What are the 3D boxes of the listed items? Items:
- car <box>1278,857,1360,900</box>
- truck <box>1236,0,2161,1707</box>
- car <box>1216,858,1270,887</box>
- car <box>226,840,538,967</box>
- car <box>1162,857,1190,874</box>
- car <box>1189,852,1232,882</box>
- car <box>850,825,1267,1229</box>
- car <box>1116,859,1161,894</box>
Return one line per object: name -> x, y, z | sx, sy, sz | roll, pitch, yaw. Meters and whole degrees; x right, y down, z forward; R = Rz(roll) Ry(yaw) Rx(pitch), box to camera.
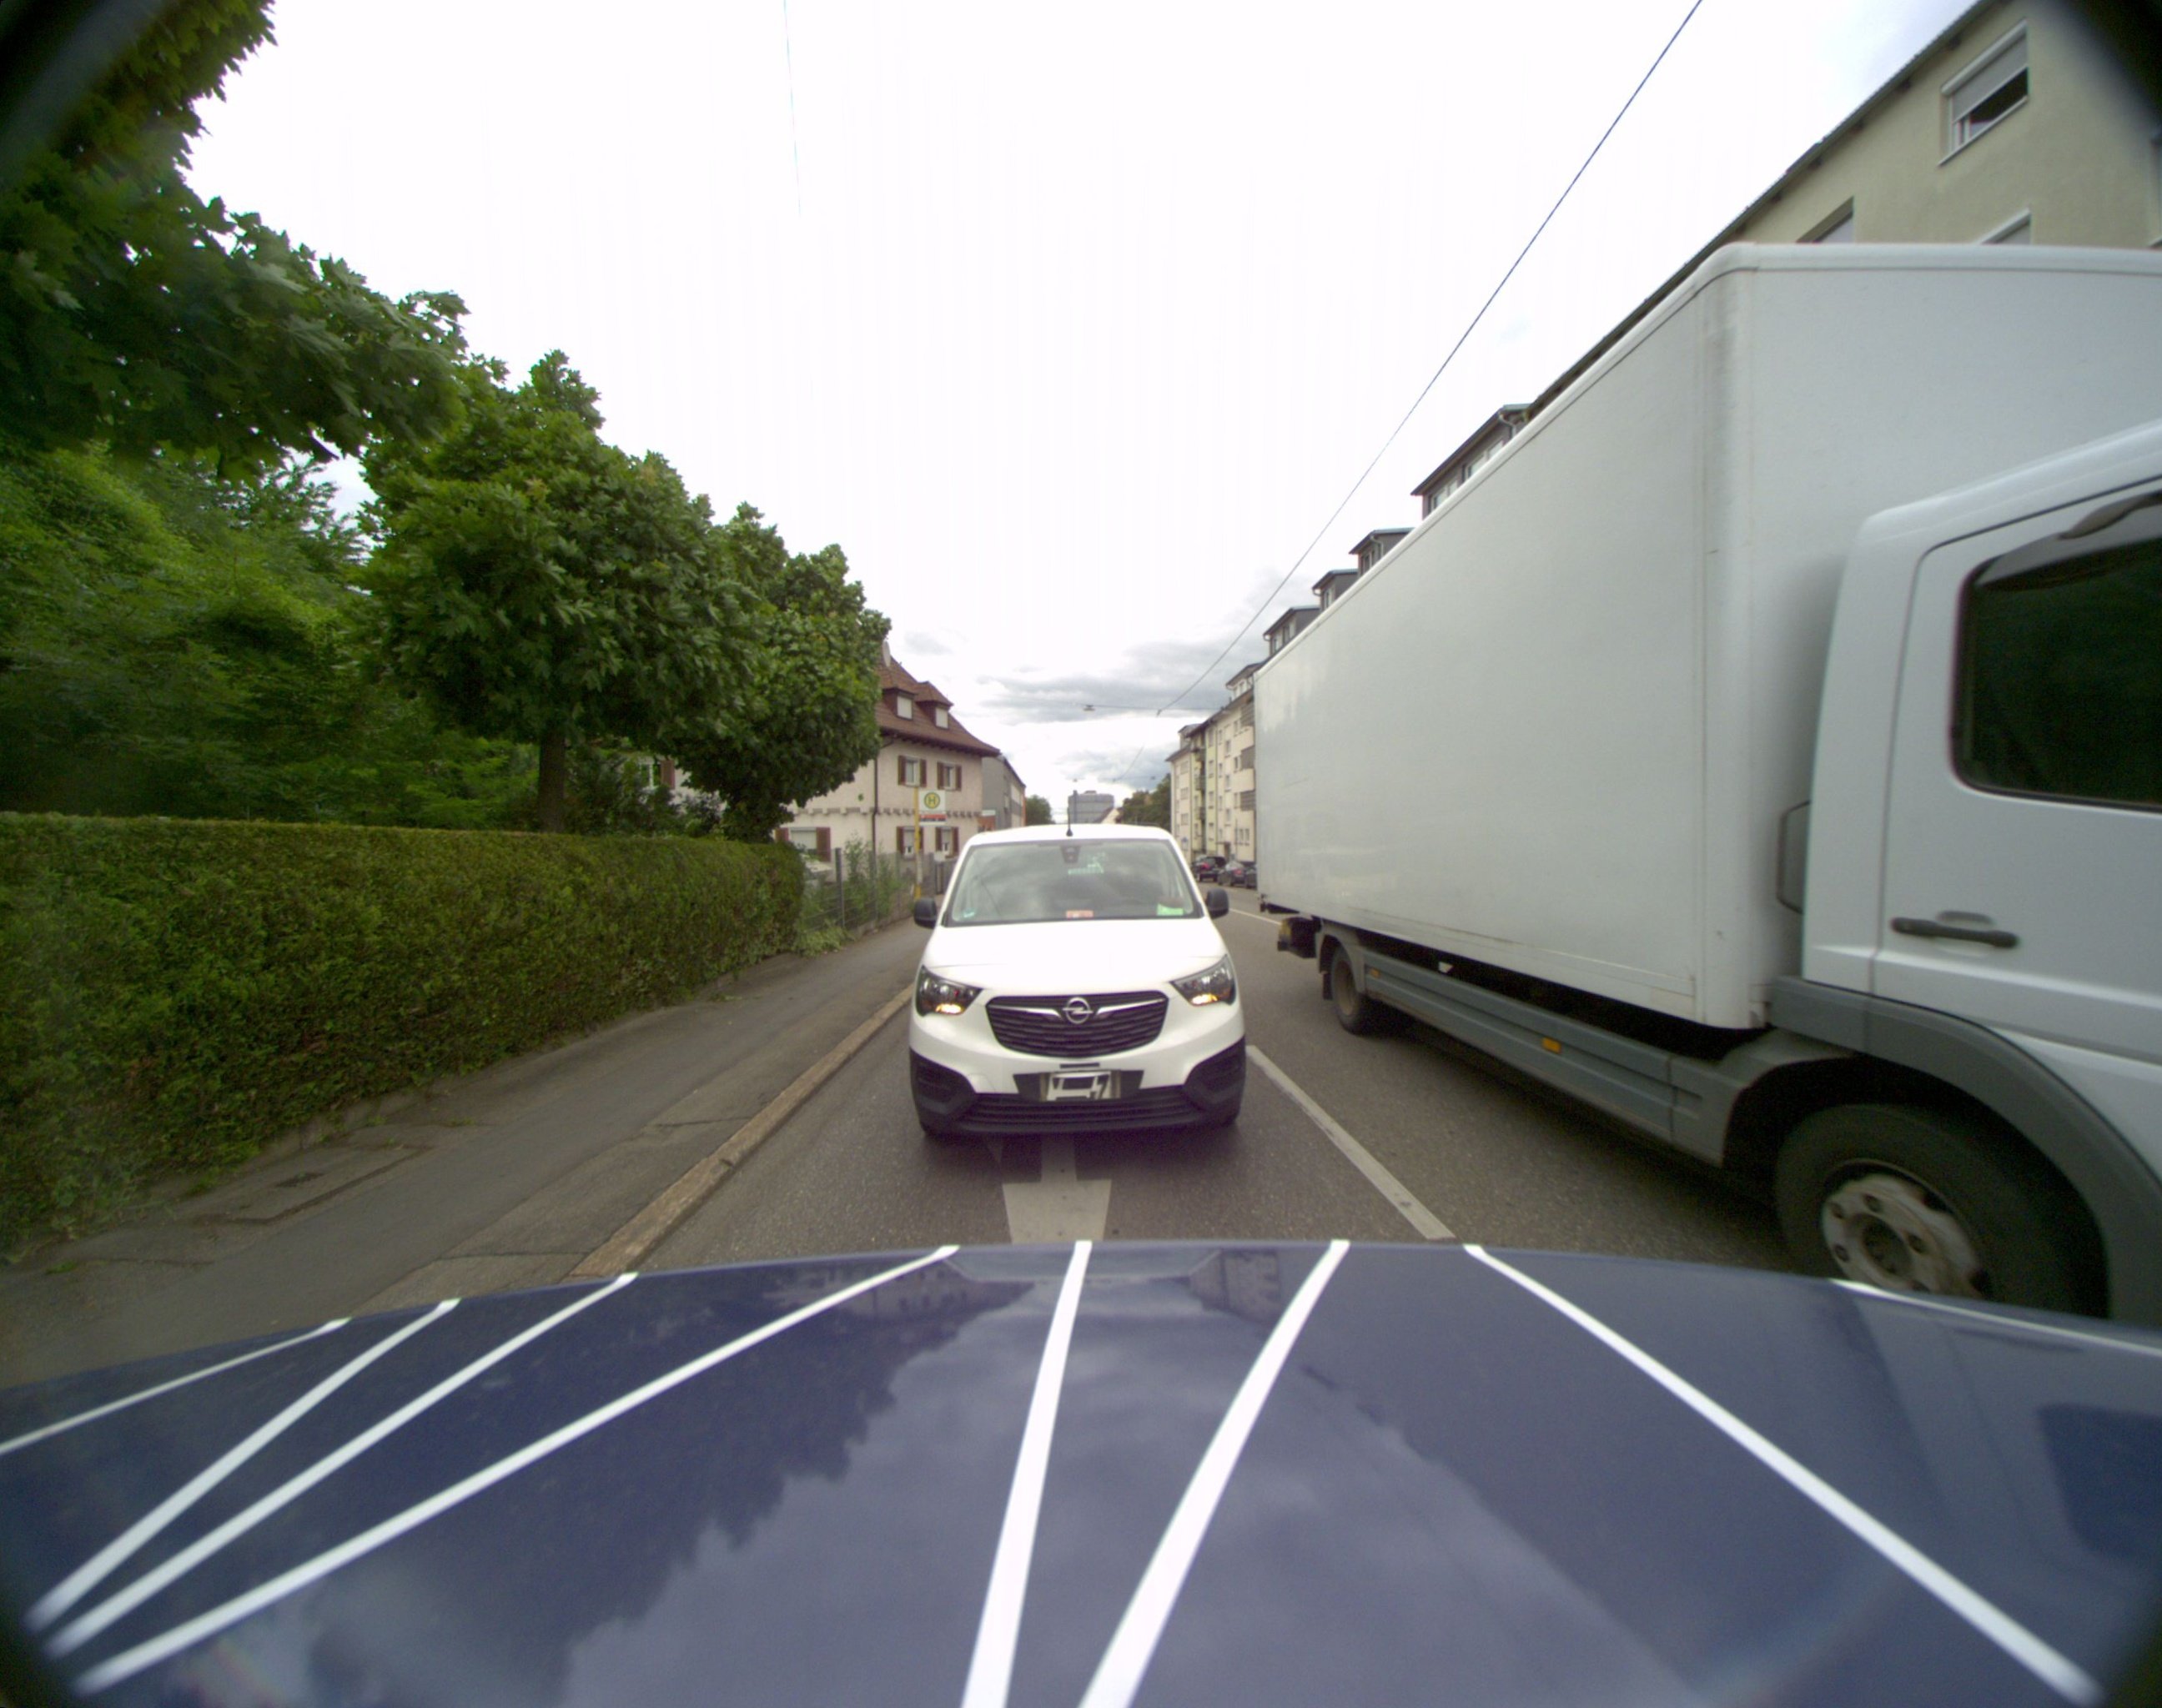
car -> 8.922, 0.891, 28.841 | 1.773, 1.428, 3.800 | 2, 1, -2
truck -> 3.297, -0.160, 4.578 | 2.776, 3.554, 8.063 | -2, 0, -2
car -> 8.451, 0.949, 39.962 | 1.773, 1.397, 4.306 | -1, 0, -2
car -> -12.846, 0.773, 14.166 | 1.994, 2.002, 4.008 | -1, 0, 40
car -> 8.194, 0.983, 65.993 | 1.875, 1.372, 4.307 | 2, 0, 0
car -> 8.331, 0.809, 49.108 | 1.875, 1.743, 4.306 | 2, 1, -2
car -> -0.156, 0.760, 5.427 | 1.803, 1.736, 3.999 | -3, 1, -2
car -> 2.411, 0.938, 32.886 | 1.700, 1.365, 4.178 | -2, 0, 1
